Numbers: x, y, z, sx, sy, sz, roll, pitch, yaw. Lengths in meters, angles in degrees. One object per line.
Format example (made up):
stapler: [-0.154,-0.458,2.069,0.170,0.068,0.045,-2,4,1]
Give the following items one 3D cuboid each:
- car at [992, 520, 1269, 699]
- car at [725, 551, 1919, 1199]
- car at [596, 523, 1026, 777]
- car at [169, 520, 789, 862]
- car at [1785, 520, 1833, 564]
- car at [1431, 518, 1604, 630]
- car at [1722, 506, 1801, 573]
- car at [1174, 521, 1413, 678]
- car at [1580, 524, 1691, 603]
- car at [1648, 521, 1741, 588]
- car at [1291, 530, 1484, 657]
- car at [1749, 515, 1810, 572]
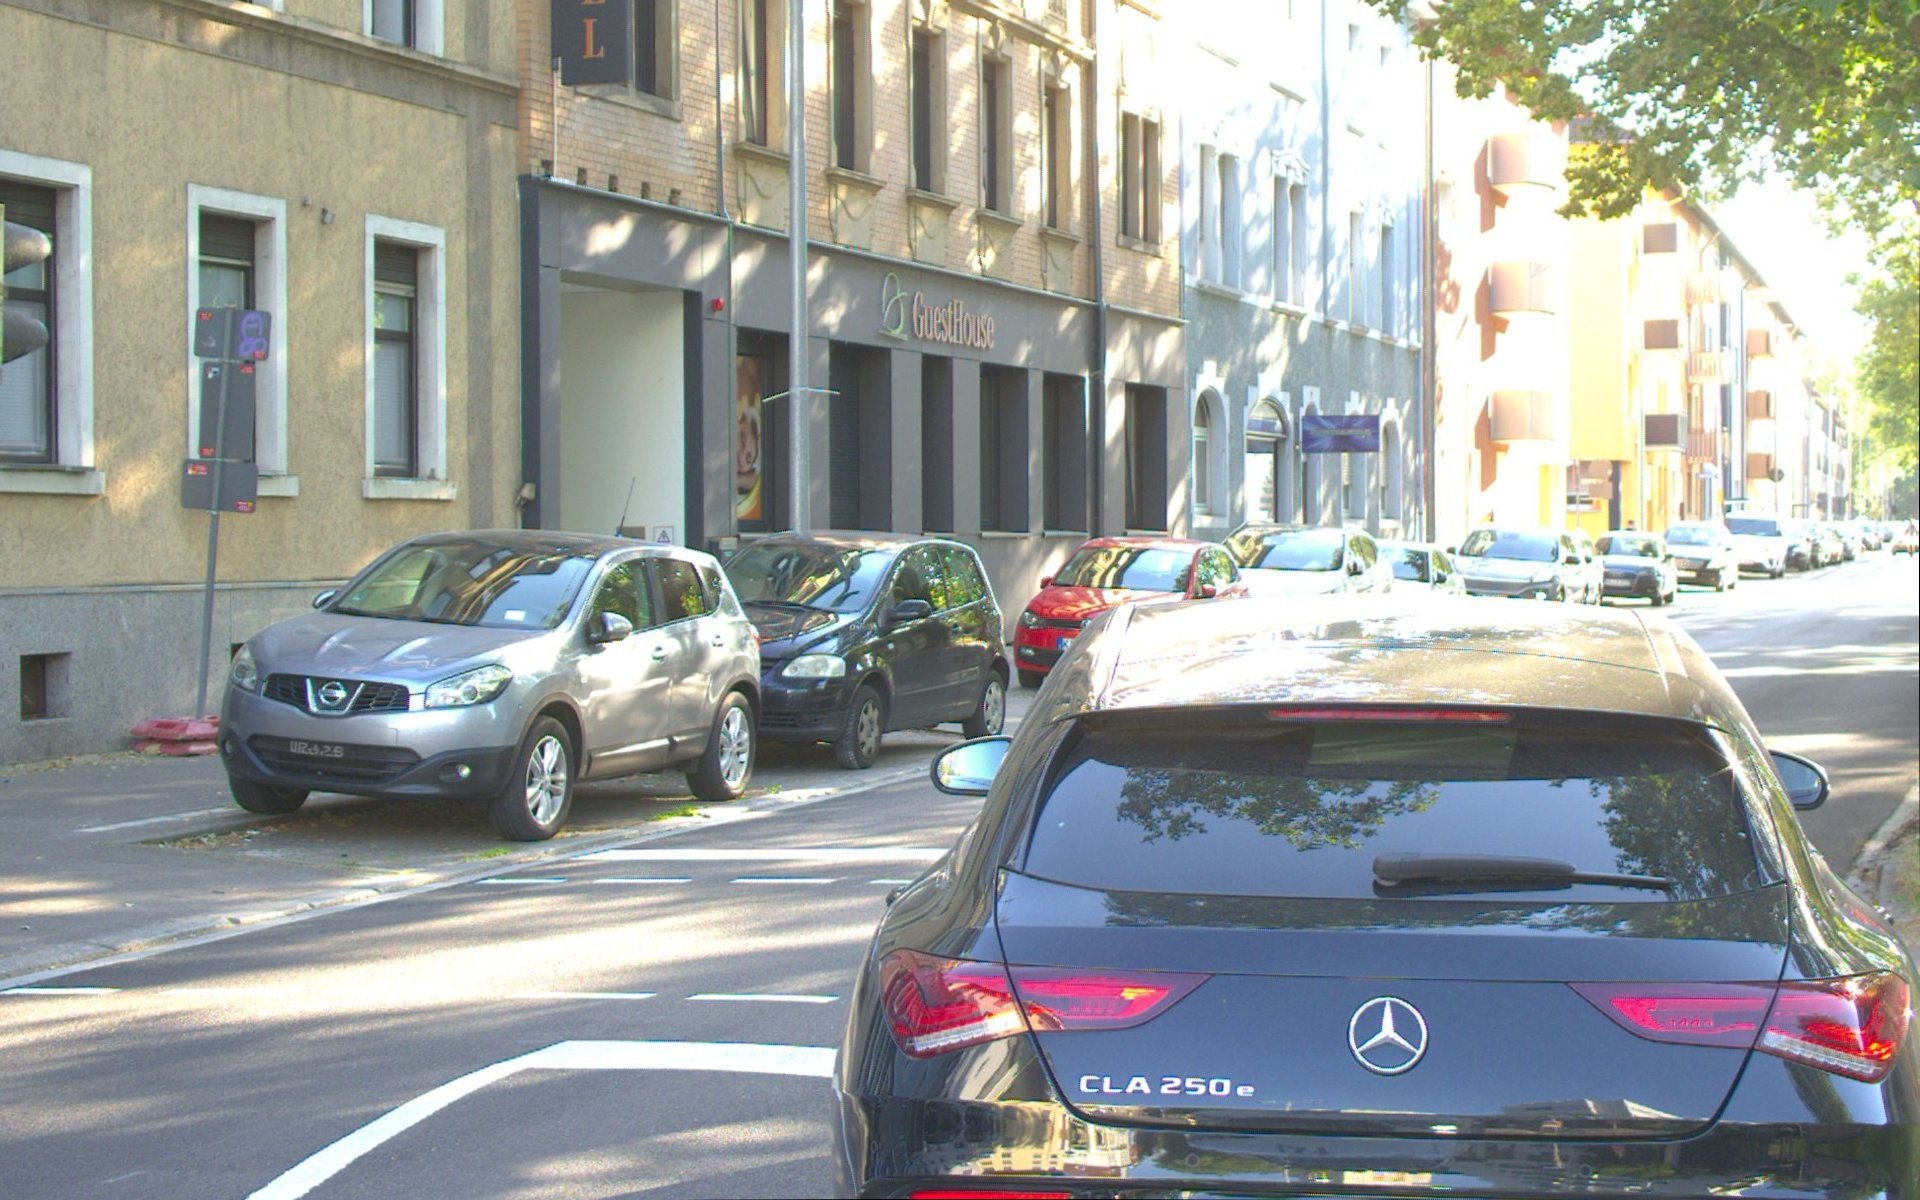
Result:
car: [1.714,0.038,33.356,1.679,1.586,3.753,2,2,19]
car: [0.769,0.677,6.734,1.745,1.438,3.968,2,2,7]
car: [-0.962,0.278,24.268,1.679,1.599,3.701,2,2,21]
car: [-2.581,0.405,19.512,1.783,1.667,4.152,2,2,19]
car: [31.252,-2.148,126.474,1.549,1.518,4.002,2,2,16]
car: [8.793,-0.450,53.958,1.910,1.636,4.573,2,2,19]
car: [23.551,-1.805,100.928,1.736,1.900,5.204,1,2,19]
car: [3.740,-0.060,37.998,1.679,1.579,4.196,2,2,19]
car: [13.603,-0.751,69.112,1.679,1.481,3.598,2,2,19]
car: [17.465,-1.103,81.658,1.679,1.518,4.017,2,2,19]
car: [5.532,-0.122,44.102,1.679,1.491,3.868,2,2,19]
car: [27.145,-1.897,113.794,1.746,1.781,4.546,2,2,16]
